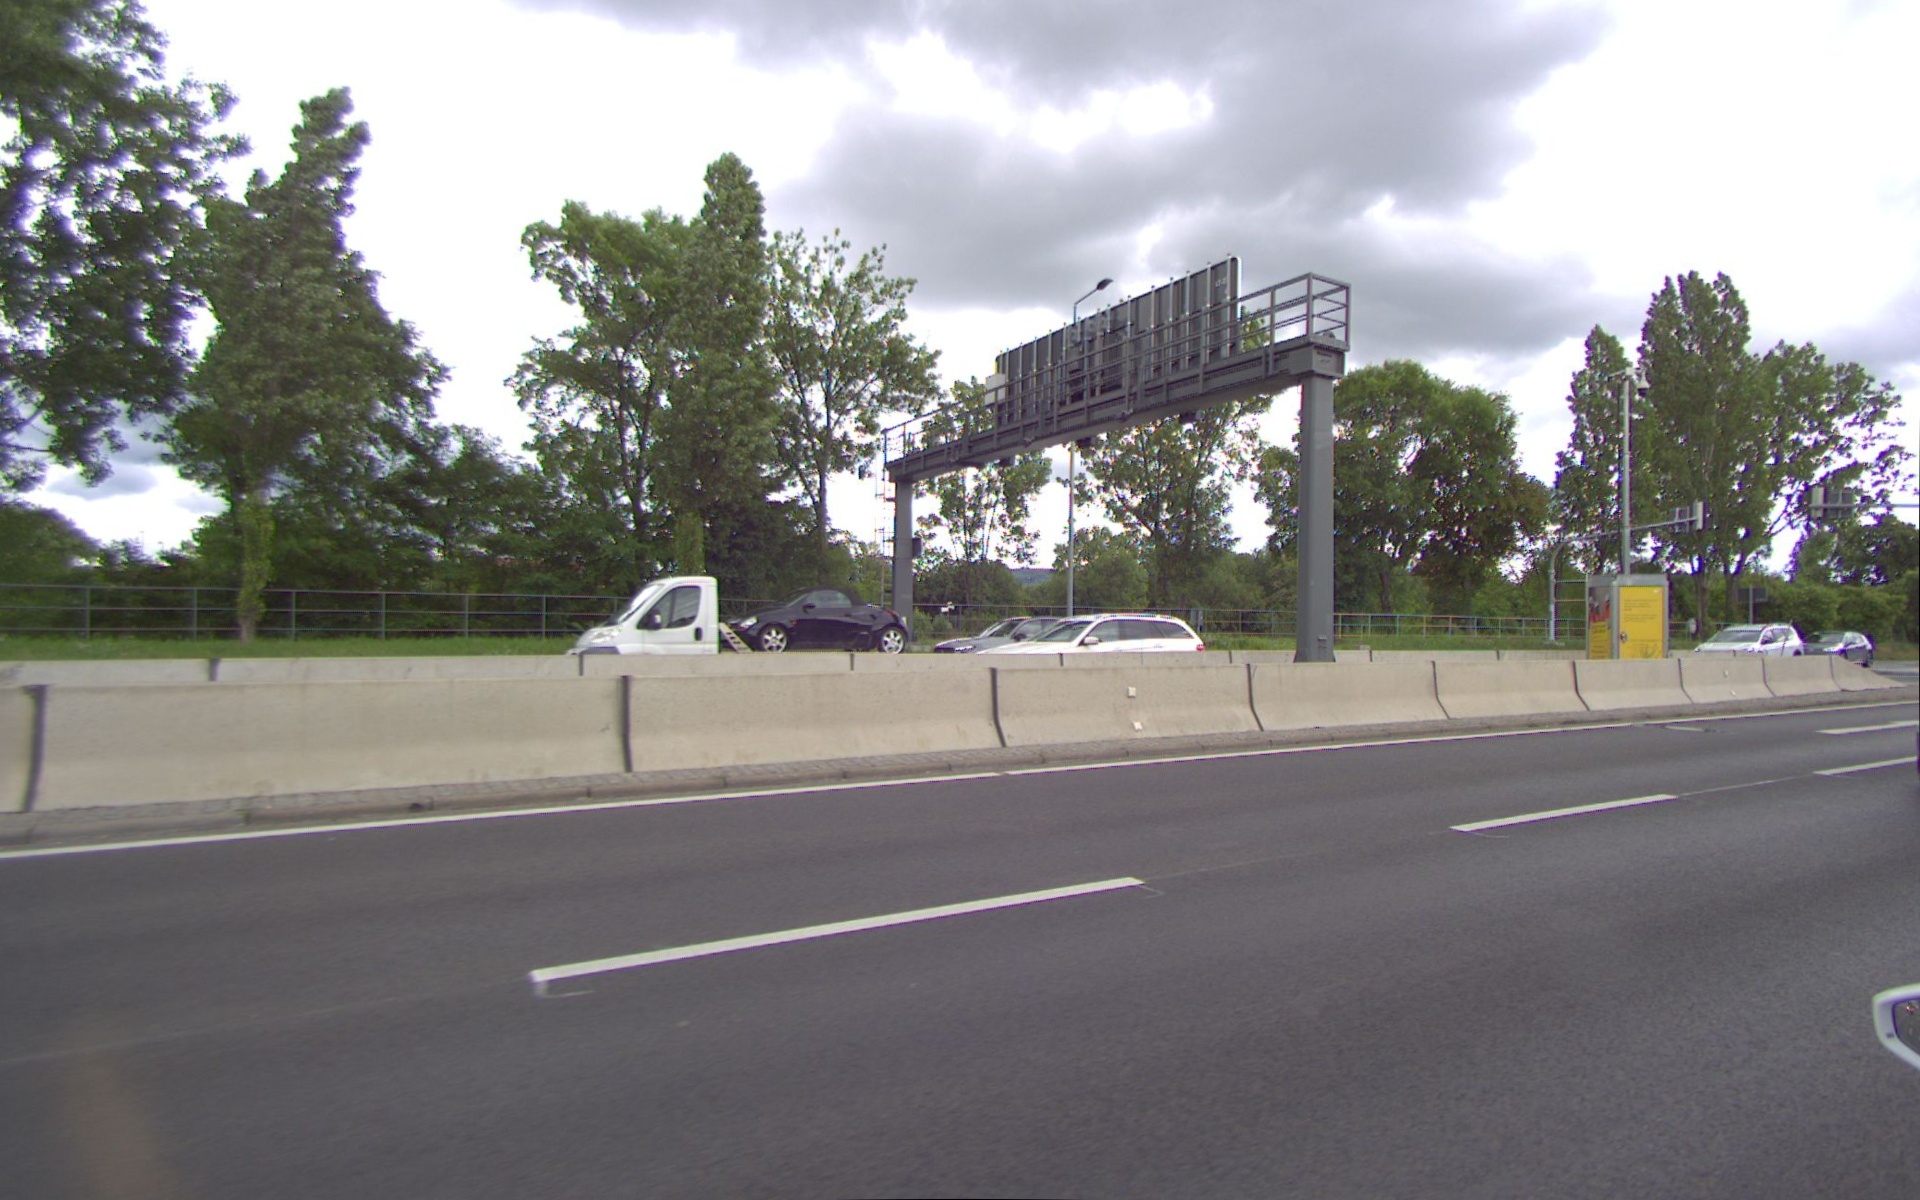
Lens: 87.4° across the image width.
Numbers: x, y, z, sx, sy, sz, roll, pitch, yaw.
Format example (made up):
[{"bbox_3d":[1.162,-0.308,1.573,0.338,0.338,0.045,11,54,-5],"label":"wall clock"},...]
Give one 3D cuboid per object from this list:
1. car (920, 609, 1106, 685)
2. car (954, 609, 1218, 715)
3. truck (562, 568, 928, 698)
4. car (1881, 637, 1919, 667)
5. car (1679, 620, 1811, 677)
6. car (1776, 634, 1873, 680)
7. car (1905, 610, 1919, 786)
[{"bbox_3d":[1.384,1.142,25.598,4.361,1.707,1.983,1,1,-31],"label":"car"},{"bbox_3d":[2.385,1.071,18.696,4.641,1.691,1.983,1,1,-31],"label":"car"},{"bbox_3d":[-3.828,0.536,18.492,6.231,2.041,2.192,1,1,-32],"label":"truck"},{"bbox_3d":[53.797,2.900,56.371,4.516,1.571,1.983,1,-1,-32],"label":"car"},{"bbox_3d":[26.057,1.559,33.337,4.361,1.707,1.983,1,1,-31],"label":"car"},{"bbox_3d":[37.520,2.448,43.580,4.240,1.679,1.982,-1,2,-32],"label":"car"},{"bbox_3d":[10.561,0.920,9.227,3.954,1.550,1.702,1,1,-31],"label":"car"}]
